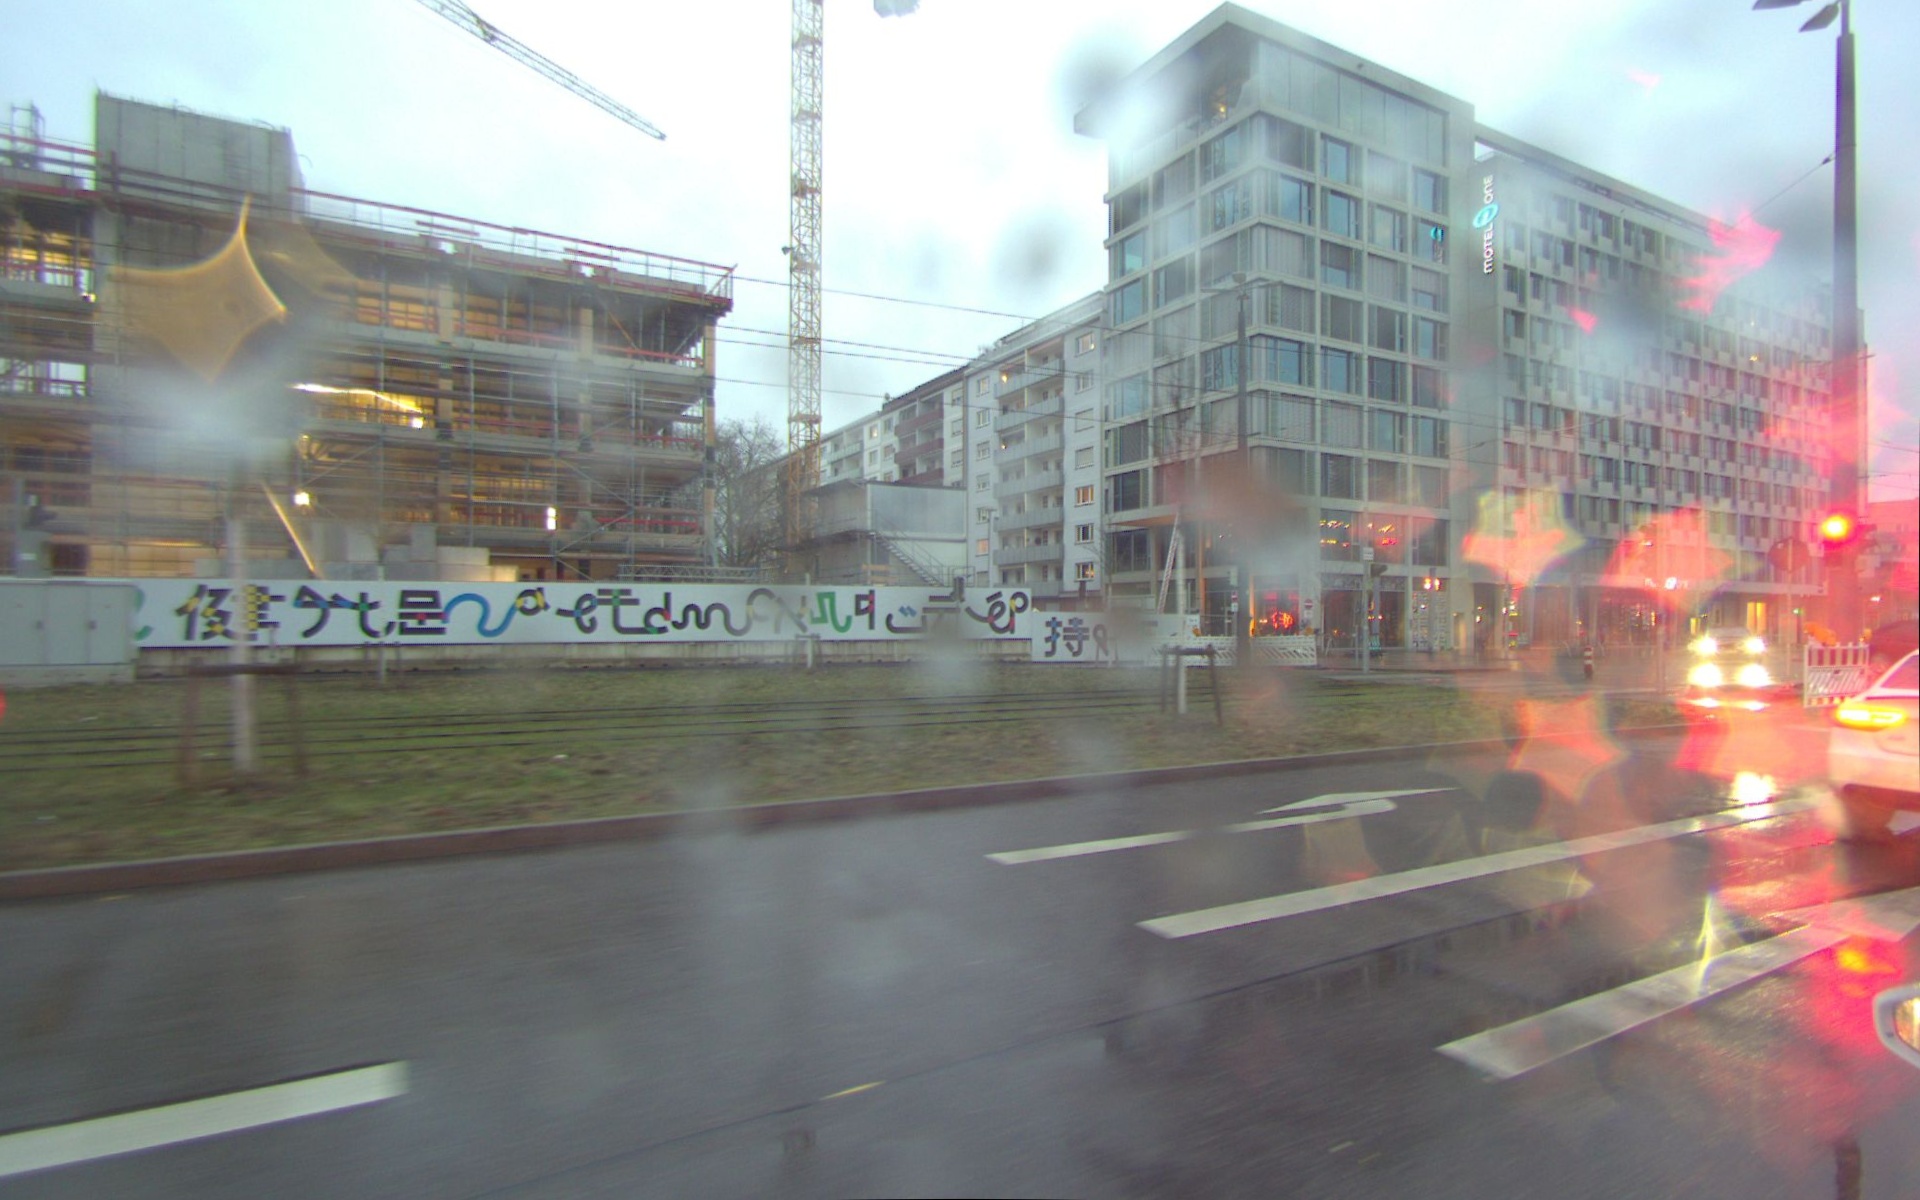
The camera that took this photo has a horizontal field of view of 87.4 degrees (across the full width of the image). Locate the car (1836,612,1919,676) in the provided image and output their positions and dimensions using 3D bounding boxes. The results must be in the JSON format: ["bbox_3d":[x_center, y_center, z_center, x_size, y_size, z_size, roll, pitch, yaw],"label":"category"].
[{"bbox_3d":[27.174,1.237,27.558,1.866,1.743,4.707,2,-1,-6],"label":"car"}]

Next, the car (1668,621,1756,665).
[{"bbox_3d":[29.116,1.630,39.020,1.729,1.550,4.325,2,0,23],"label":"car"}]

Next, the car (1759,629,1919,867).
[{"bbox_3d":[7.946,0.971,7.367,4.320,1.475,1.983,1,-1,-32],"label":"car"}]
